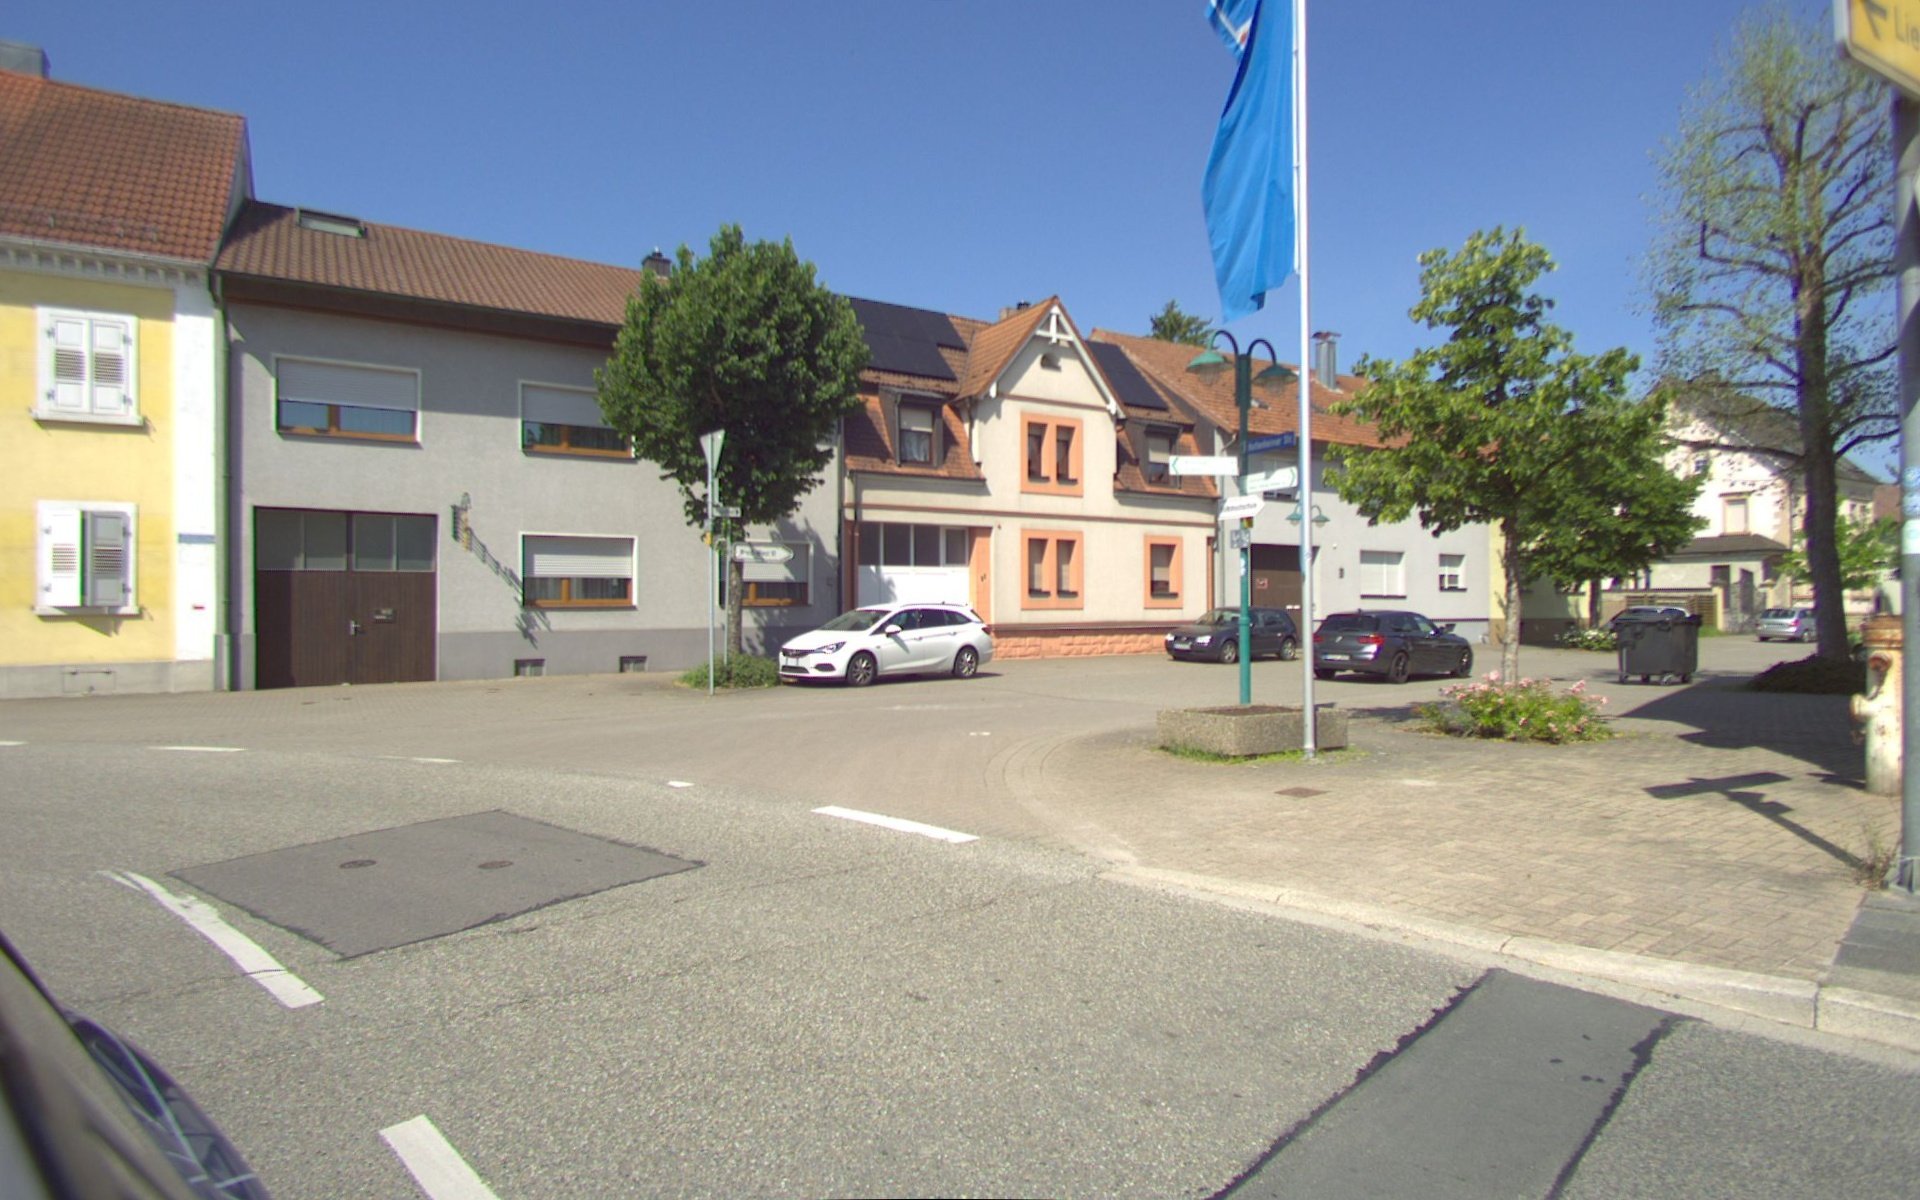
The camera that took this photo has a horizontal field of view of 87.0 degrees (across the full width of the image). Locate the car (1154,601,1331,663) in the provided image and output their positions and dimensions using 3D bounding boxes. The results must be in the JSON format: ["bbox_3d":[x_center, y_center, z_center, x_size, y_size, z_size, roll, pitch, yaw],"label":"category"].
[{"bbox_3d":[7.623,0.787,27.023,5.129,1.451,1.994,0,2,-40],"label":"car"}]

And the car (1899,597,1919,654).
[{"bbox_3d":[29.396,0.685,27.880,1.966,1.636,4.832,0,-1,-33],"label":"car"}]

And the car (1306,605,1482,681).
[{"bbox_3d":[8.962,0.833,20.736,4.203,1.387,1.744,1,-1,-42],"label":"car"}]

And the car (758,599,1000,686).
[{"bbox_3d":[-1.426,0.739,19.224,1.856,1.451,4.446,-2,-1,45],"label":"car"}]

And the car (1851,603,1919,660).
[{"bbox_3d":[24.334,0.746,24.348,1.966,1.355,3.947,0,-1,-33],"label":"car"}]

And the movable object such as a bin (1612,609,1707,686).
[{"bbox_3d":[12.871,0.851,18.654,0.775,1.348,1.195,0,-1,-29],"label":"movable object such as a bin"}]

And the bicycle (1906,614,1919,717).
[{"bbox_3d":[11.491,0.717,11.500,1.718,1.144,0.597,0,-1,-31],"label":"bicycle"}]

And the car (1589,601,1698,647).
[{"bbox_3d":[25.073,0.862,37.090,3.933,1.586,2.005,0,-1,-35],"label":"car"}]

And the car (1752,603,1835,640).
[{"bbox_3d":[34.894,0.860,42.320,3.937,1.475,2.003,0,0,-40],"label":"car"}]
